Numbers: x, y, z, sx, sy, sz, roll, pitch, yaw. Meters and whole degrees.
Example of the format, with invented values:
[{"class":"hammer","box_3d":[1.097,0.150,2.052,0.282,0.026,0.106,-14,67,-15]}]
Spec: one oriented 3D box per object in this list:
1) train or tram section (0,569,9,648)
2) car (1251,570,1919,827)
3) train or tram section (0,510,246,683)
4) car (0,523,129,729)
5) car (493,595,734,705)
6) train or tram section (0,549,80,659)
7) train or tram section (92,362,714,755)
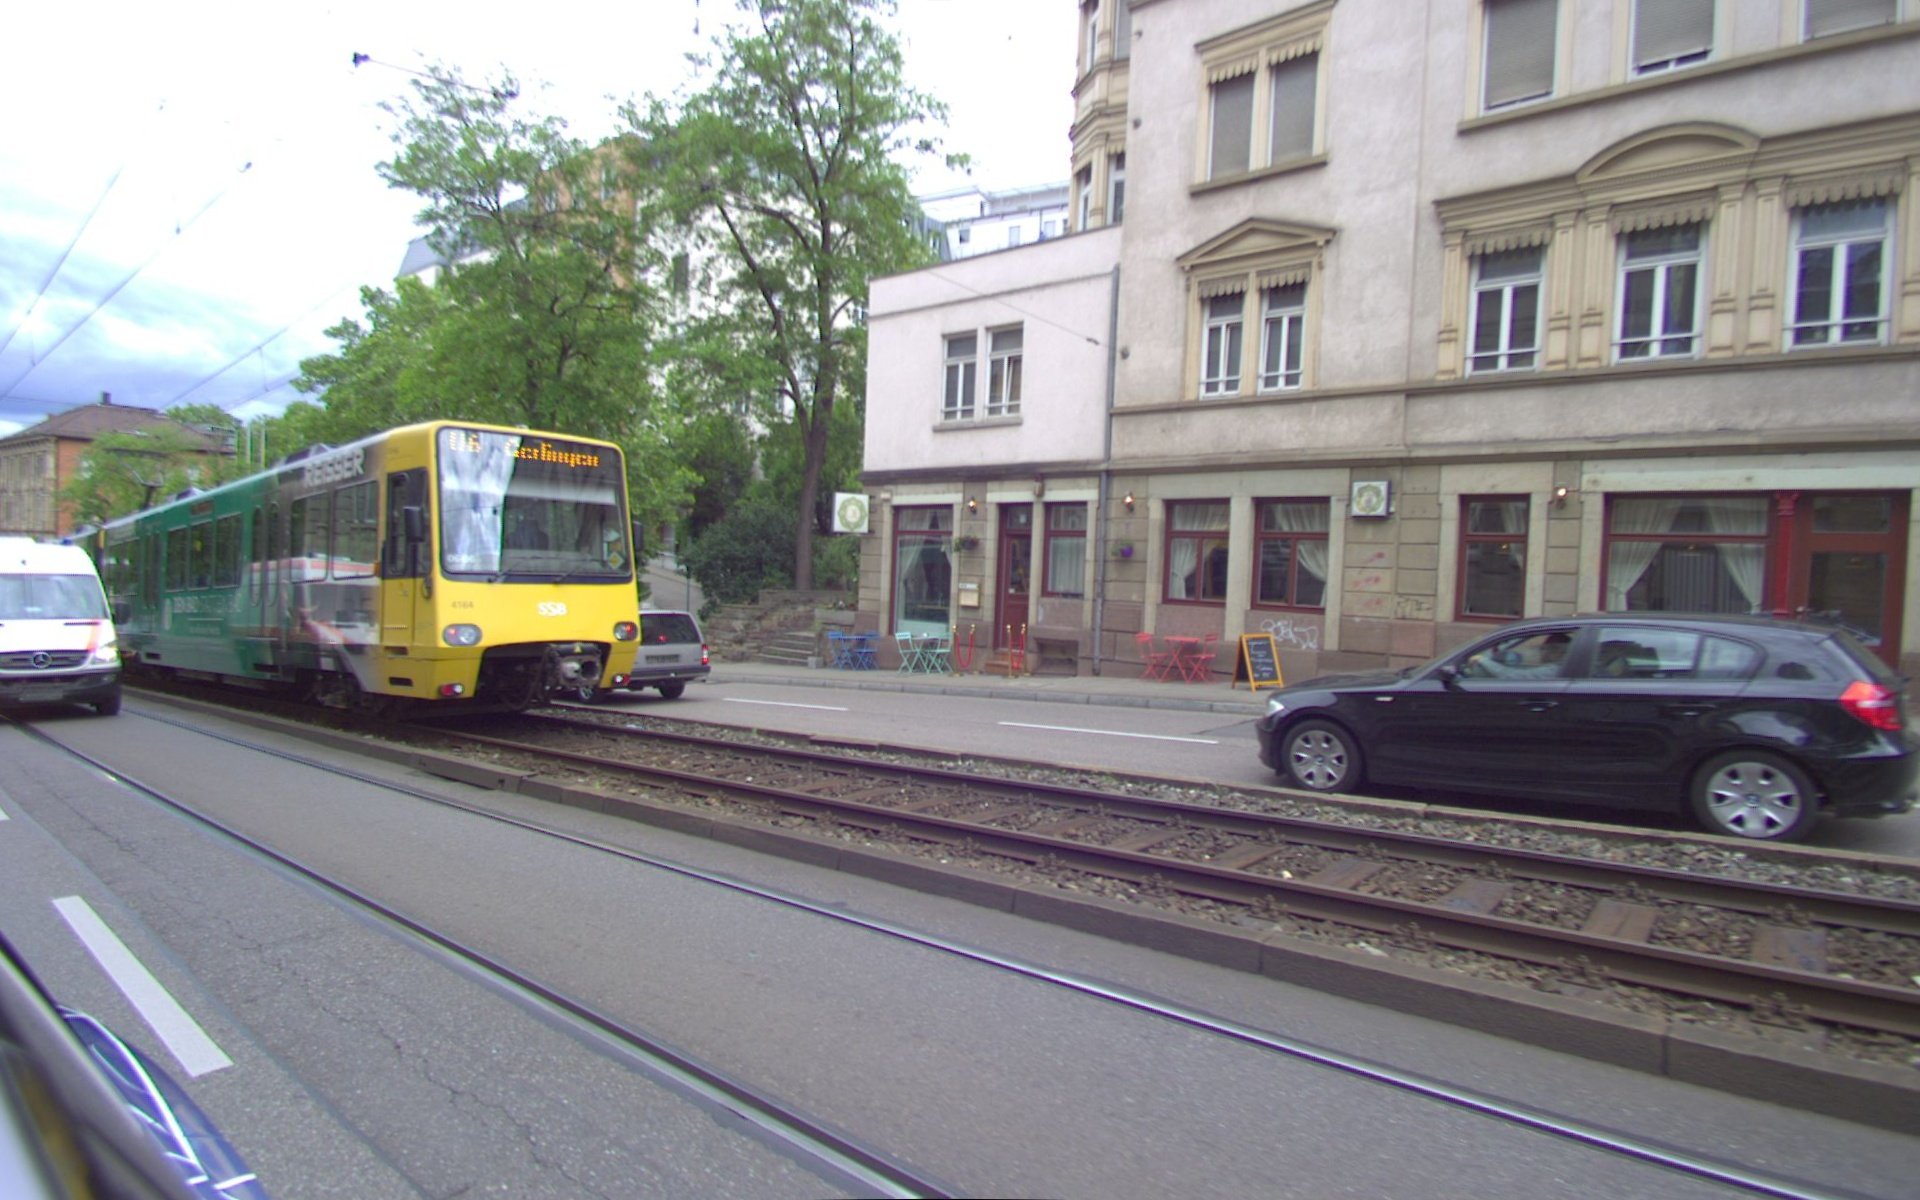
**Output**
[{"class":"train or tram section","box_3d":[-52.045,0.533,52.047,14.845,3.754,2.853,-1,0,40]},{"class":"car","box_3d":[4.436,0.549,7.229,4.160,1.374,1.811,-1,-1,41]},{"class":"train or tram section","box_3d":[-25.186,0.052,29.030,18.738,3.754,2.848,-1,0,40]},{"class":"car","box_3d":[-14.616,0.403,15.550,5.852,2.720,2.012,-2,-1,42]},{"class":"car","box_3d":[-5.869,0.757,16.921,4.237,1.608,1.973,-1,-1,41]},{"class":"train or tram section","box_3d":[-39.364,0.270,41.117,18.692,3.754,2.847,-1,0,41]},{"class":"train or tram section","box_3d":[-10.887,-0.283,16.927,18.747,3.754,2.846,-1,0,41]}]
